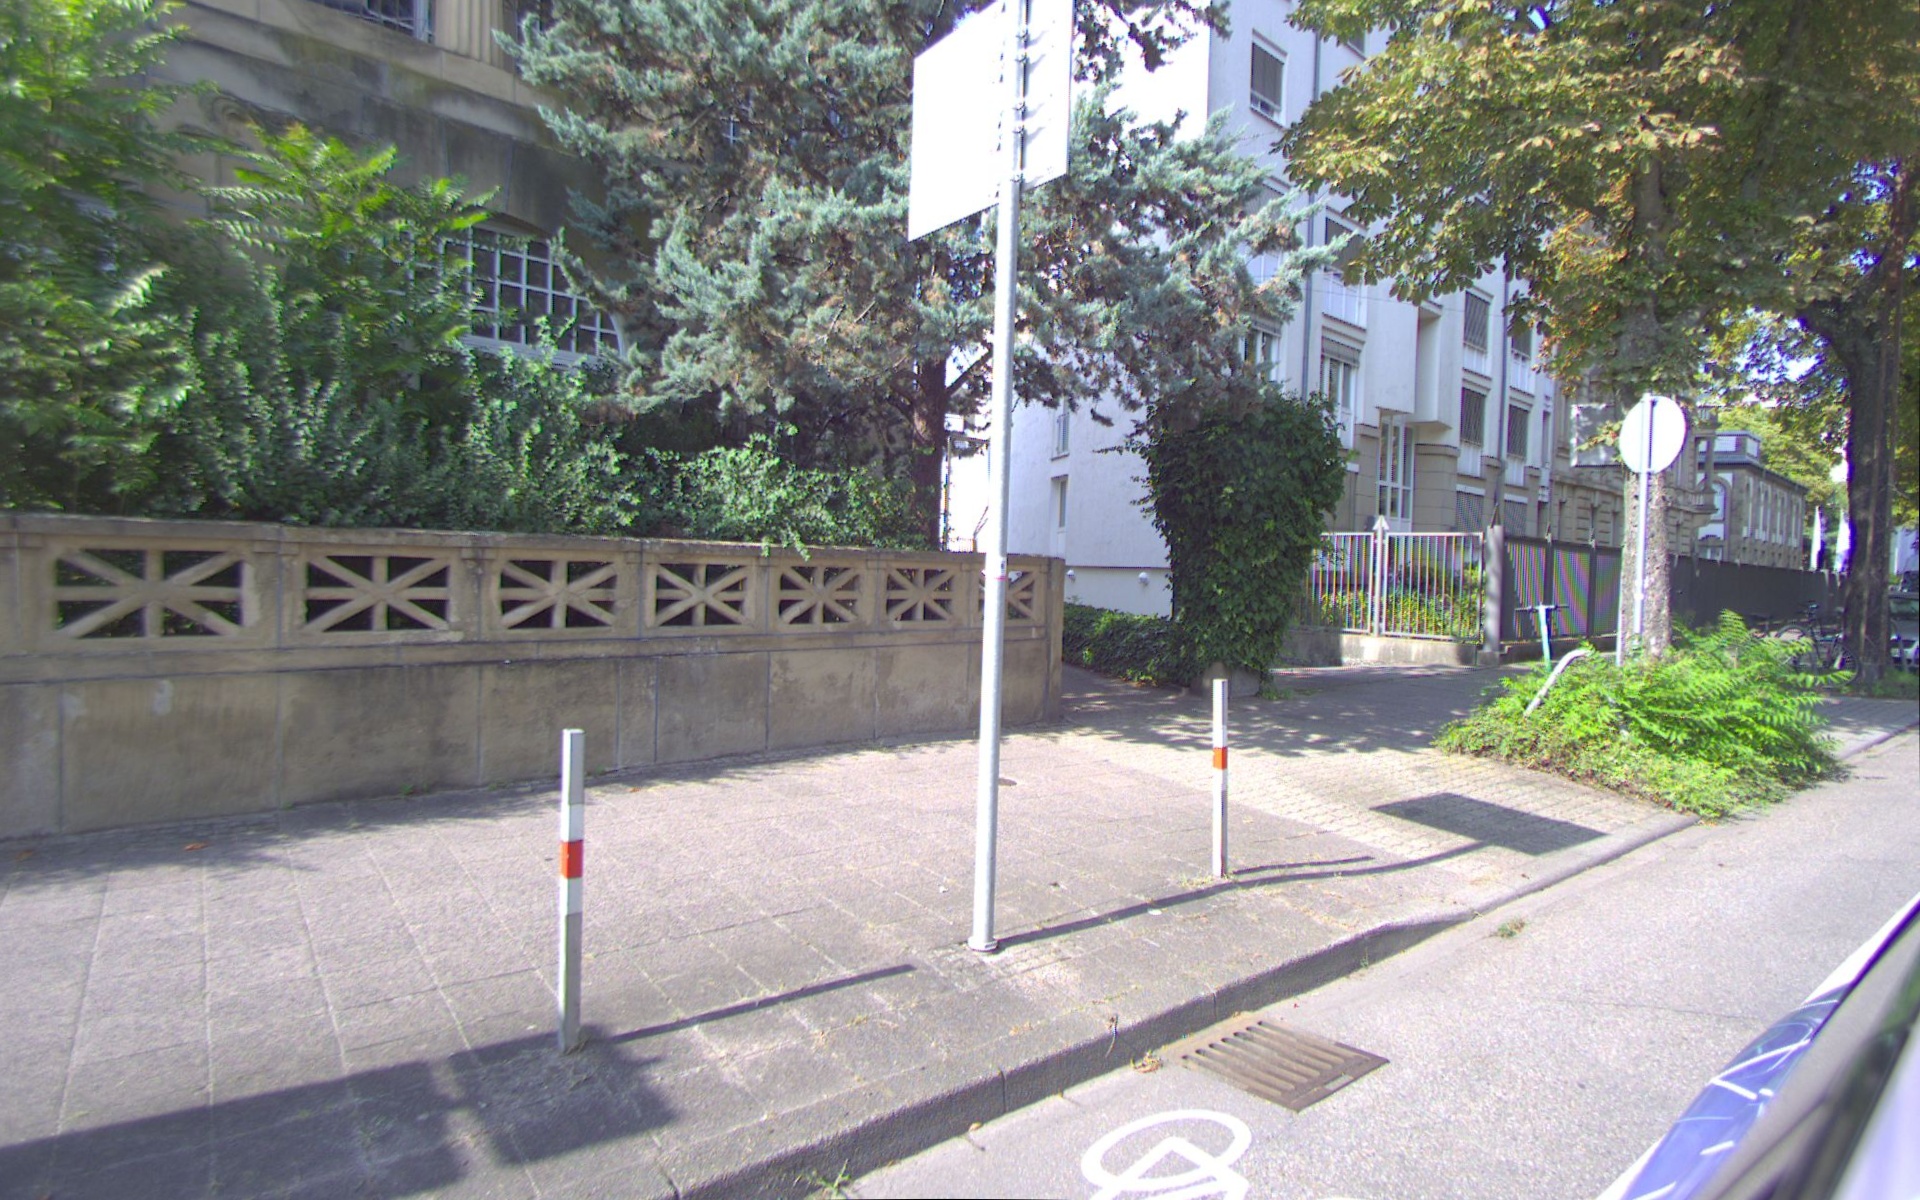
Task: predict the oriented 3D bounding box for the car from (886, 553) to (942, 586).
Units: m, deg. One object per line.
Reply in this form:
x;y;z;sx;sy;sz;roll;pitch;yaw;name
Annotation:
-2.340;-1.541;50.277;1.797;1.585;4.010;1;2;-17;car

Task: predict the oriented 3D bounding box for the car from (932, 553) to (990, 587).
0.009;-1.532;50.996;1.797;1.585;4.010;1;2;-17;car

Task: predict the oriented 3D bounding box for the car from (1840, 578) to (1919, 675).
17.526;0.457;18.444;4.282;1.541;1.610;0;6;-42;car

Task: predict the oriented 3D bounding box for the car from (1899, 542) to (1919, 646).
26.118;-0.115;26.148;6.121;2.529;2.050;0;3;-42;car

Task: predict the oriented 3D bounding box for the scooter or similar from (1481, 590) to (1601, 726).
5.644;0.530;9.825;1.015;1.211;0.560;0;5;-36;scooter or similar

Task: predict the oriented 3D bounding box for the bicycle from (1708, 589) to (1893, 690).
11.483;0.523;13.880;1.812;1.179;0.504;4;7;9;bicycle
